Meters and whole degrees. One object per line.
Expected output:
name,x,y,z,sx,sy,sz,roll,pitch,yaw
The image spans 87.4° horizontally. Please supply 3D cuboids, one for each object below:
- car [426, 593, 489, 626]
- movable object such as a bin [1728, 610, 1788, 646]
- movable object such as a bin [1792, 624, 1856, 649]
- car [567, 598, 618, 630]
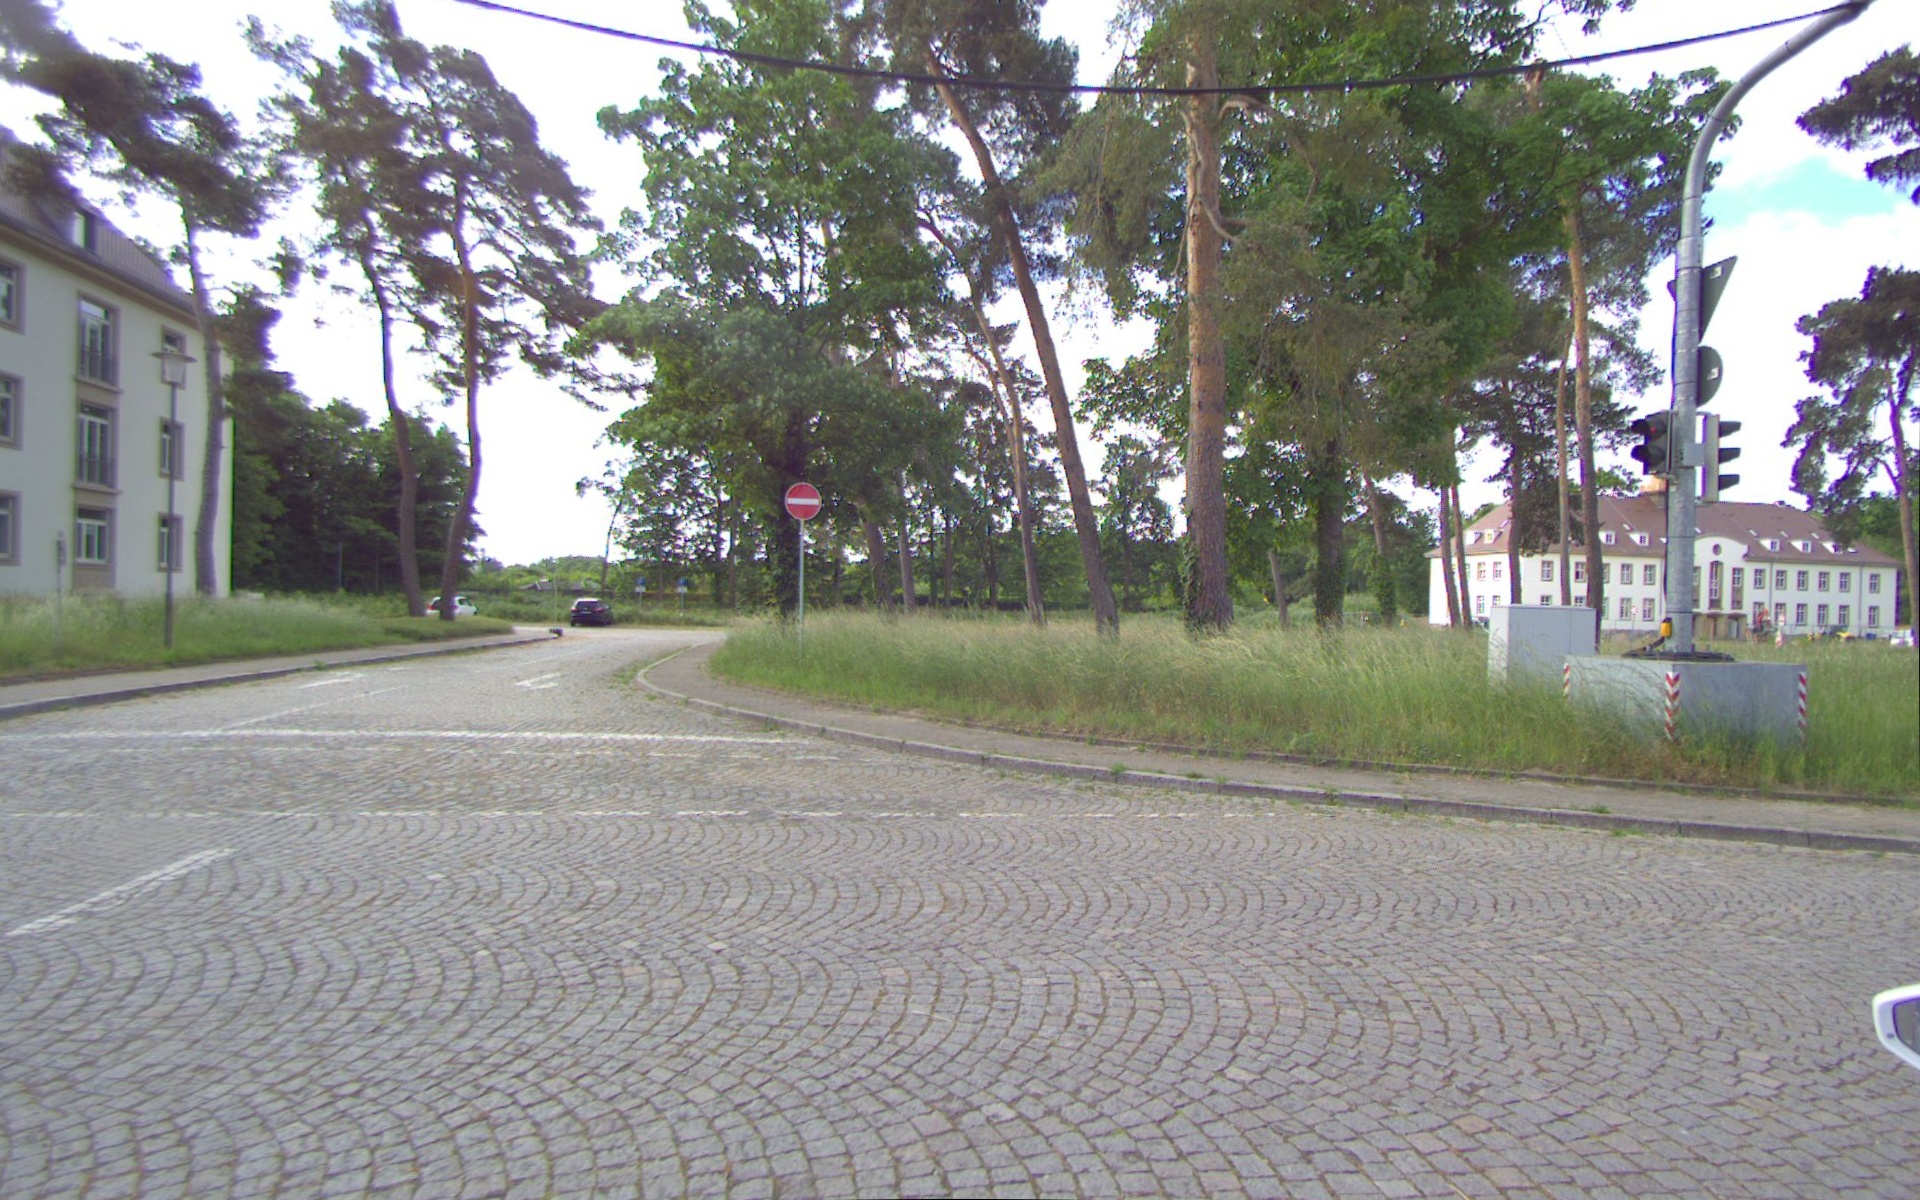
car,-27.799,0.505,55.689,1.684,1.632,4.054,3,0,-5
movable object such as a bin,85.528,2.974,107.766,2.098,3.689,6.140,3,-1,8
movable object such as a bin,87.852,3.709,102.223,2.335,2.283,4.519,3,-1,-4
car,-20.535,0.767,56.266,1.685,1.632,4.053,3,0,-7
